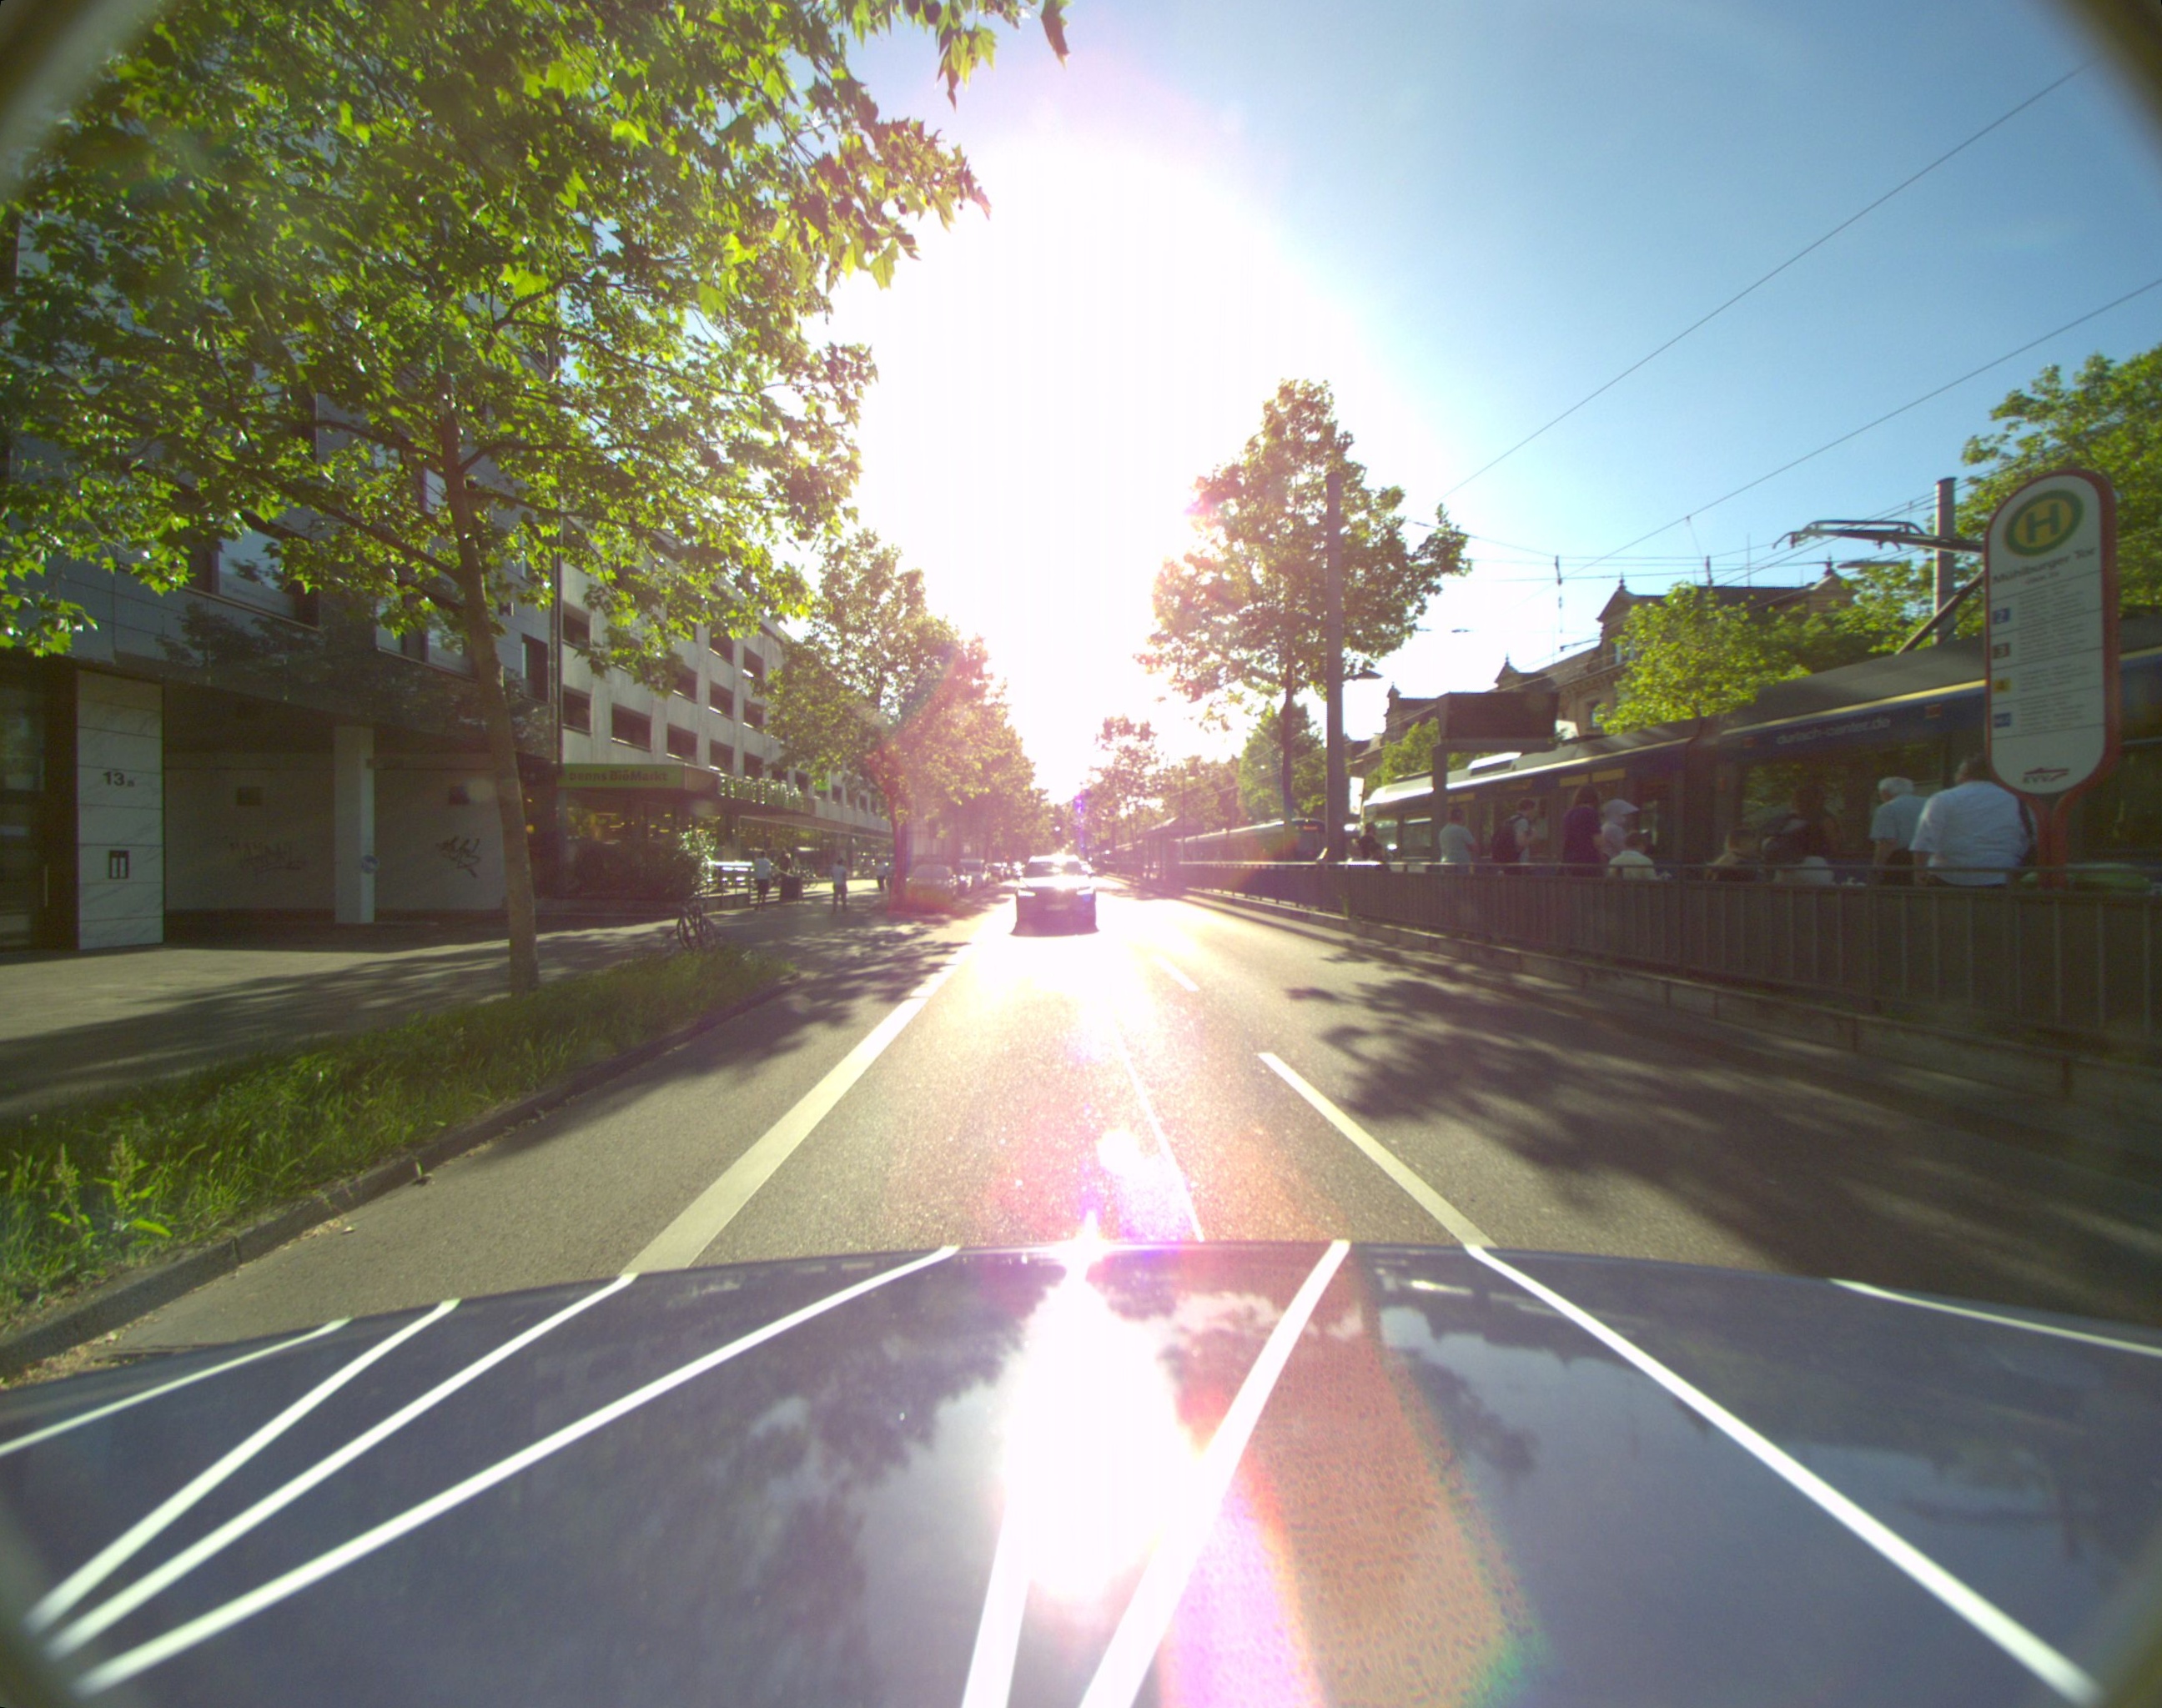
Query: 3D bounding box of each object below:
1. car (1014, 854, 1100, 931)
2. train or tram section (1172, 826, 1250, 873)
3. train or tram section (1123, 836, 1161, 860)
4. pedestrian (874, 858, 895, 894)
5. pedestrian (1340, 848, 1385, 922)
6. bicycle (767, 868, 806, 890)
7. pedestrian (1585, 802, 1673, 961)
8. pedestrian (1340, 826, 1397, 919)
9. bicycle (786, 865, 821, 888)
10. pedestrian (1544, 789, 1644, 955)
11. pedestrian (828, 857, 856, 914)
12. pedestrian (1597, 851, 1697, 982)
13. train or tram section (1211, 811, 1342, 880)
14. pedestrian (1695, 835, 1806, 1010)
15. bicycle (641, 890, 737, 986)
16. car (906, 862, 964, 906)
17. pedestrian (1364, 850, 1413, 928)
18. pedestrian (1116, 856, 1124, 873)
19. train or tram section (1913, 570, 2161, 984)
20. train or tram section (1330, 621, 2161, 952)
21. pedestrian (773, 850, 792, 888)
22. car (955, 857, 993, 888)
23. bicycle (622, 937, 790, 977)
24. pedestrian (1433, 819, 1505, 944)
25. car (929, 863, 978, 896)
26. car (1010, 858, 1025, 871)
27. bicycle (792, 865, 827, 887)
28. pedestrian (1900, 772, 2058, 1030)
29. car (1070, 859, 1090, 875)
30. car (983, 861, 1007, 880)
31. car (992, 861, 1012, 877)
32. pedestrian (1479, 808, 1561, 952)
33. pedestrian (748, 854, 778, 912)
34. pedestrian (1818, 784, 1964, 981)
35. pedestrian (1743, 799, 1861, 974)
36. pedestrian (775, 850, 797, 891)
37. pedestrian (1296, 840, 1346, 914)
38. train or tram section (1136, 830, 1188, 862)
[{"bbox_3d":[-0.636,0.881,19.371,1.914,1.695,4.272,-1,0,-2],"label":"car"},{"bbox_3d":[10.825,-0.292,65.872,2.878,3.414,18.272,-2,0,-2],"label":"train or tram section"},{"bbox_3d":[6.693,-0.590,86.006,2.569,2.516,15.069,-1,0,-2],"label":"train or tram section"},{"bbox_3d":[-8.946,0.988,34.685,0.699,1.603,0.868,2,0,0],"label":"pedestrian"},{"bbox_3d":[5.024,0.540,13.578,0.535,1.291,0.604,0,0,-6],"label":"pedestrian"},{"bbox_3d":[-13.263,1.114,34.181,1.648,0.910,0.587,1,-3,25],"label":"bicycle"},{"bbox_3d":[6.084,0.298,8.462,0.516,1.698,0.621,0,0,-3],"label":"pedestrian"},{"bbox_3d":[5.547,0.347,14.689,0.778,1.742,0.723,0,0,-6],"label":"pedestrian"},{"bbox_3d":[-13.875,1.126,37.955,1.700,1.049,0.587,1,-1,25],"label":"bicycle"},{"bbox_3d":[5.376,0.184,7.997,0.662,1.686,0.571,0,0,-1],"label":"pedestrian"},{"bbox_3d":[-7.238,0.930,23.063,0.561,1.694,1.052,0,0,-3],"label":"pedestrian"},{"bbox_3d":[5.321,0.568,7.168,0.546,1.185,0.531,0,0,-3],"label":"pedestrian"},{"bbox_3d":[11.456,-0.405,47.576,2.856,3.414,18.211,-2,0,-2],"label":"train or tram section"},{"bbox_3d":[5.240,0.516,5.969,0.417,1.308,0.507,0,0,-4],"label":"pedestrian"},{"bbox_3d":[-5.349,1.097,10.491,0.791,1.126,1.844,0,0,-15],"label":"bicycle"},{"bbox_3d":[-5.640,1.102,29.760,1.569,1.541,3.999,-1,0,-2],"label":"car"},{"bbox_3d":[5.032,0.559,12.450,0.535,1.239,0.604,0,0,-4],"label":"pedestrian"},{"bbox_3d":[3.689,1.010,72.044,0.701,1.626,0.761,-1,0,-2],"label":"pedestrian"},{"bbox_3d":[10.117,-0.582,1.168,2.922,3.241,13.108,-2,1,-2],"label":"train or tram section"},{"bbox_3d":[9.523,-0.800,15.602,2.922,3.241,15.887,-2,1,-2],"label":"train or tram section"},{"bbox_3d":[-13.887,0.683,35.388,0.614,1.705,0.611,6,-1,-27],"label":"pedestrian"},{"bbox_3d":[-6.453,1.077,46.147,1.769,1.781,4.392,0,0,-2],"label":"car"},{"bbox_3d":[-5.036,1.385,10.368,1.613,0.351,1.388,0,0,-2],"label":"bicycle"},{"bbox_3d":[5.193,0.362,10.194,0.662,1.624,0.571,0,0,-1],"label":"pedestrian"},{"bbox_3d":[-6.030,1.154,36.462,1.766,1.409,4.699,-1,0,-3],"label":"car"},{"bbox_3d":[-8.610,1.413,102.974,1.839,1.555,4.272,-1,0,-2],"label":"car"},{"bbox_3d":[-13.894,1.121,38.841,1.700,1.049,0.587,2,0,25],"label":"bicycle"},{"bbox_3d":[6.299,0.314,5.363,0.506,1.692,0.613,0,0,25],"label":"pedestrian"},{"bbox_3d":[-0.116,1.206,70.301,1.707,1.407,3.875,-2,0,0],"label":"car"},{"bbox_3d":[-6.912,1.307,61.595,1.677,1.430,3.689,2,0,-3],"label":"car"},{"bbox_3d":[-7.478,1.388,72.081,1.630,1.433,3.929,1,0,-2],"label":"car"},{"bbox_3d":[5.292,0.303,9.185,0.662,1.686,0.571,0,0,-1],"label":"pedestrian"},{"bbox_3d":[-9.574,0.857,22.873,0.561,1.734,0.878,0,0,-3],"label":"pedestrian"},{"bbox_3d":[7.074,0.239,6.660,0.620,1.640,0.622,0,0,-6],"label":"pedestrian"},{"bbox_3d":[6.440,0.281,6.810,0.546,1.510,0.531,0,0,-3],"label":"pedestrian"},{"bbox_3d":[-12.366,0.685,31.887,0.559,1.668,0.882,2,0,-3],"label":"pedestrian"},{"bbox_3d":[5.046,0.475,16.010,0.778,1.501,0.751,0,0,-6],"label":"pedestrian"},{"bbox_3d":[7.281,-0.637,70.637,2.569,2.549,15.671,-1,0,-2],"label":"train or tram section"}]
